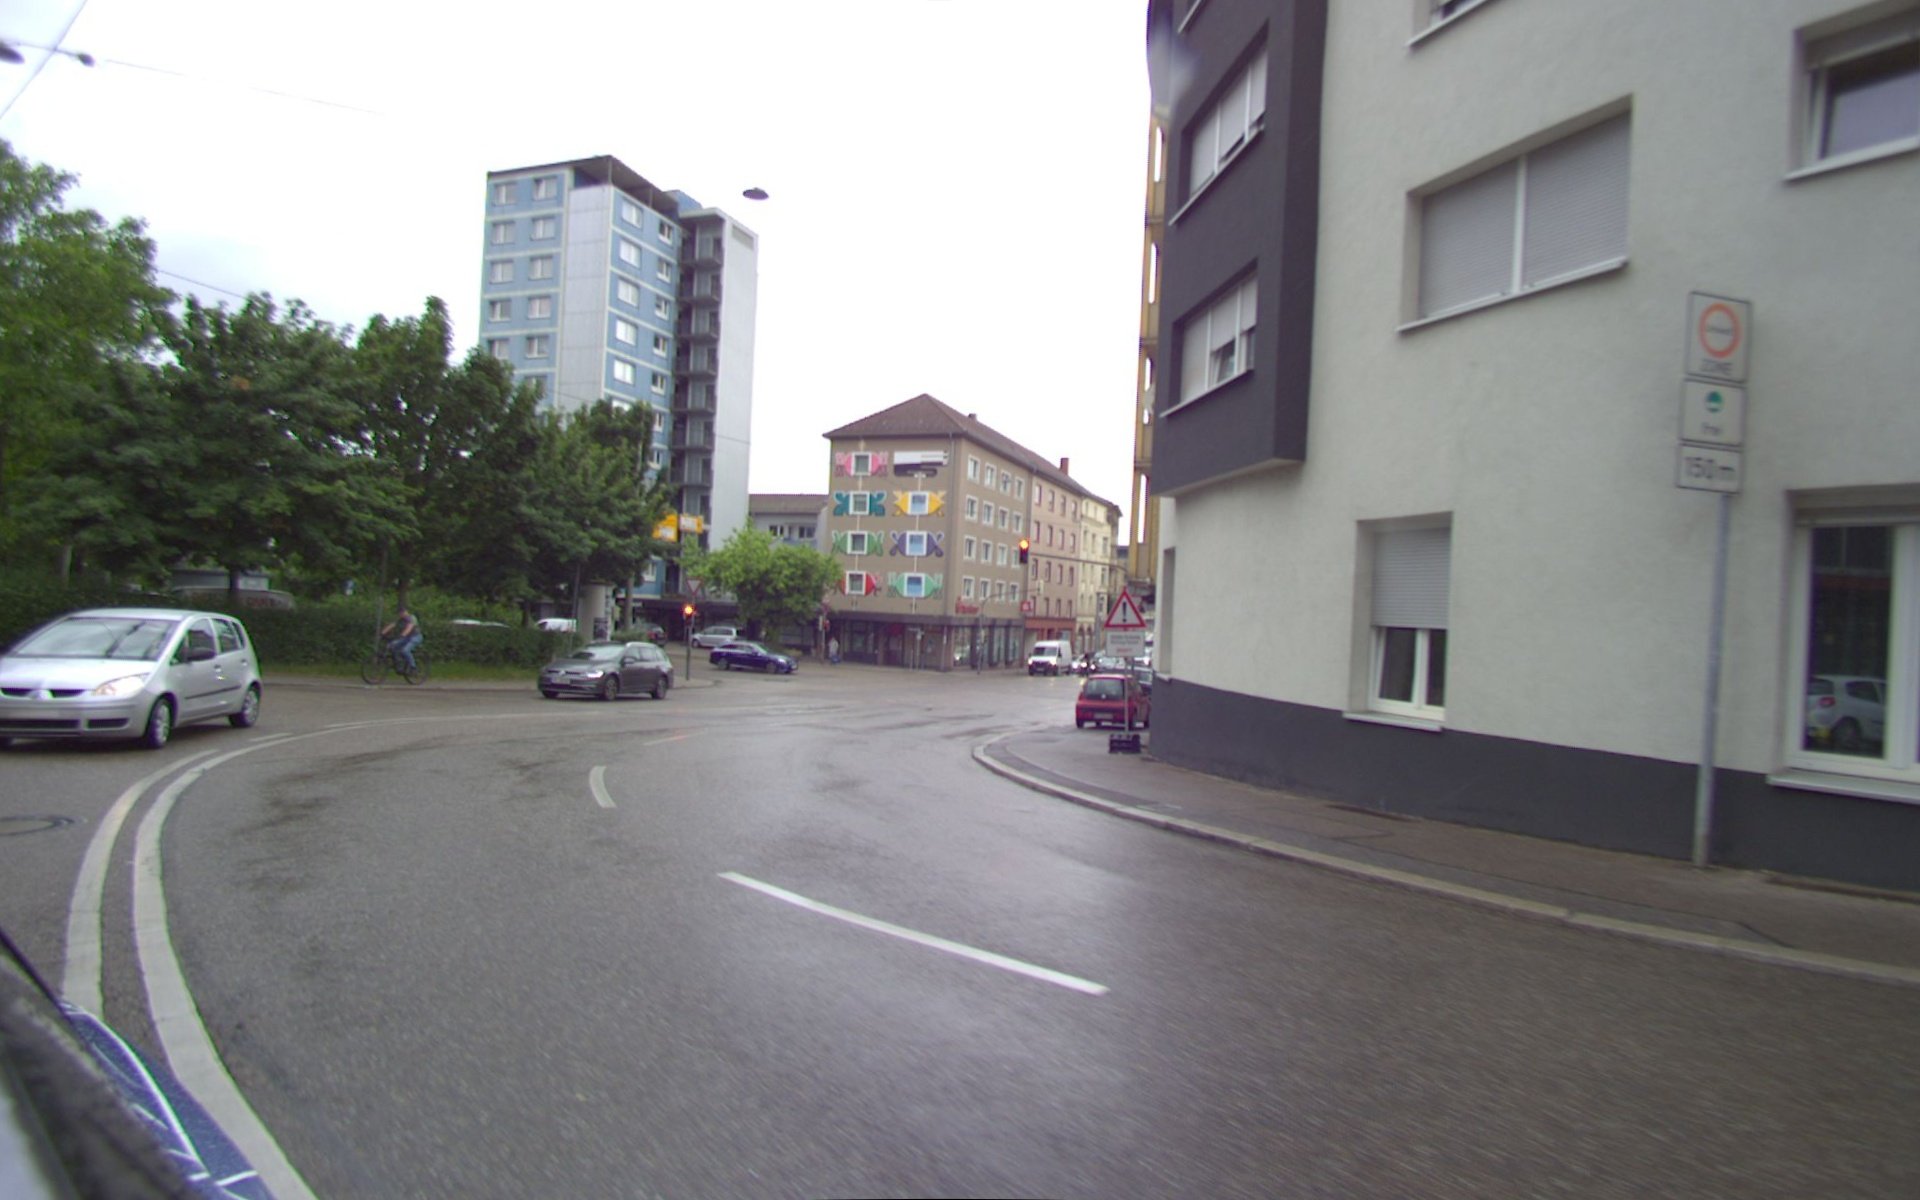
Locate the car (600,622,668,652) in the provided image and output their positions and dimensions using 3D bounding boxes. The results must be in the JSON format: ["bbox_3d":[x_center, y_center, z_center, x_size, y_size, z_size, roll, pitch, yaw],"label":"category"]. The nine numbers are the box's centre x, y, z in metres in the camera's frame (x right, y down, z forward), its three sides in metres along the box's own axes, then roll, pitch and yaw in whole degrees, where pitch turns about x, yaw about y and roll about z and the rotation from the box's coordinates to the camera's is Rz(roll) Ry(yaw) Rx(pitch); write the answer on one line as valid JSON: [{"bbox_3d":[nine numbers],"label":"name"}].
[{"bbox_3d":[-21.999,2.503,68.348,4.157,1.678,1.639,4,-1,21],"label":"car"}]

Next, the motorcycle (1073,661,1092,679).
[{"bbox_3d":[8.412,4.821,69.470,0.873,1.108,1.787,2,-4,21],"label":"motorcycle"}]

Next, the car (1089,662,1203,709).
[{"bbox_3d":[8.052,3.678,43.739,4.546,1.591,1.979,3,-4,19],"label":"car"}]

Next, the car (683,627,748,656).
[{"bbox_3d":[-17.250,2.889,71.438,4.157,1.678,1.639,4,-1,21],"label":"car"}]

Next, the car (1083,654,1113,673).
[{"bbox_3d":[11.847,5.452,86.698,1.837,1.430,3.543,-1,-5,21],"label":"car"}]

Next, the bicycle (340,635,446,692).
[{"bbox_3d":[-13.861,1.577,24.825,0.881,1.196,2.121,6,-4,18],"label":"bicycle"}]

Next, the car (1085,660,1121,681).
[{"bbox_3d":[10.526,5.171,74.409,1.837,1.430,3.543,-1,-5,21],"label":"car"}]

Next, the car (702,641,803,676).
[{"bbox_3d":[-10.367,2.908,50.704,4.620,1.406,1.810,3,-2,17],"label":"car"}]

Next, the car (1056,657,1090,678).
[{"bbox_3d":[8.886,5.308,79.407,1.837,1.490,3.543,-1,-5,21],"label":"car"}]

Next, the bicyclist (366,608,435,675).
[{"bbox_3d":[-13.775,1.027,24.922,0.882,1.500,0.963,6,-4,18],"label":"bicyclist"}]

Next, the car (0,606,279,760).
[{"bbox_3d":[-9.917,0.888,12.108,1.659,1.516,3.849,3,-2,-14],"label":"car"}]

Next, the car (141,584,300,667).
[{"bbox_3d":[-20.228,0.674,27.656,4.191,1.975,1.622,1,-6,27],"label":"car"}]

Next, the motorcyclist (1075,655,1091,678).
[{"bbox_3d":[8.432,4.587,69.516,0.873,1.490,0.790,2,-4,21],"label":"motorcyclist"}]

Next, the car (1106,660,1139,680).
[{"bbox_3d":[12.913,5.558,80.343,1.837,1.430,3.543,-1,-5,21],"label":"car"}]

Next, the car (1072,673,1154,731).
[{"bbox_3d":[4.296,2.822,28.028,1.603,1.475,3.510,0,-6,20],"label":"car"}]

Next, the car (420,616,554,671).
[{"bbox_3d":[-16.853,1.554,36.090,4.176,1.633,1.628,3,-6,17],"label":"car"}]

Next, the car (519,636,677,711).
[{"bbox_3d":[-9.010,1.942,25.658,1.670,1.516,4.486,2,-8,11],"label":"car"}]

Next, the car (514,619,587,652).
[{"bbox_3d":[-27.068,2.349,66.931,4.205,1.869,1.975,3,-4,24],"label":"car"}]

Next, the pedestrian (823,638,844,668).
[{"bbox_3d":[-7.796,3.273,62.306,0.897,1.787,0.812,3,-4,21],"label":"pedestrian"}]

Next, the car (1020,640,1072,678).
[{"bbox_3d":[6.221,4.246,72.258,2.217,2.543,5.431,0,-5,21],"label":"car"}]

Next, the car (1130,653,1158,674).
[{"bbox_3d":[16.203,5.635,89.082,1.837,1.728,3.543,-1,-5,21],"label":"car"}]
